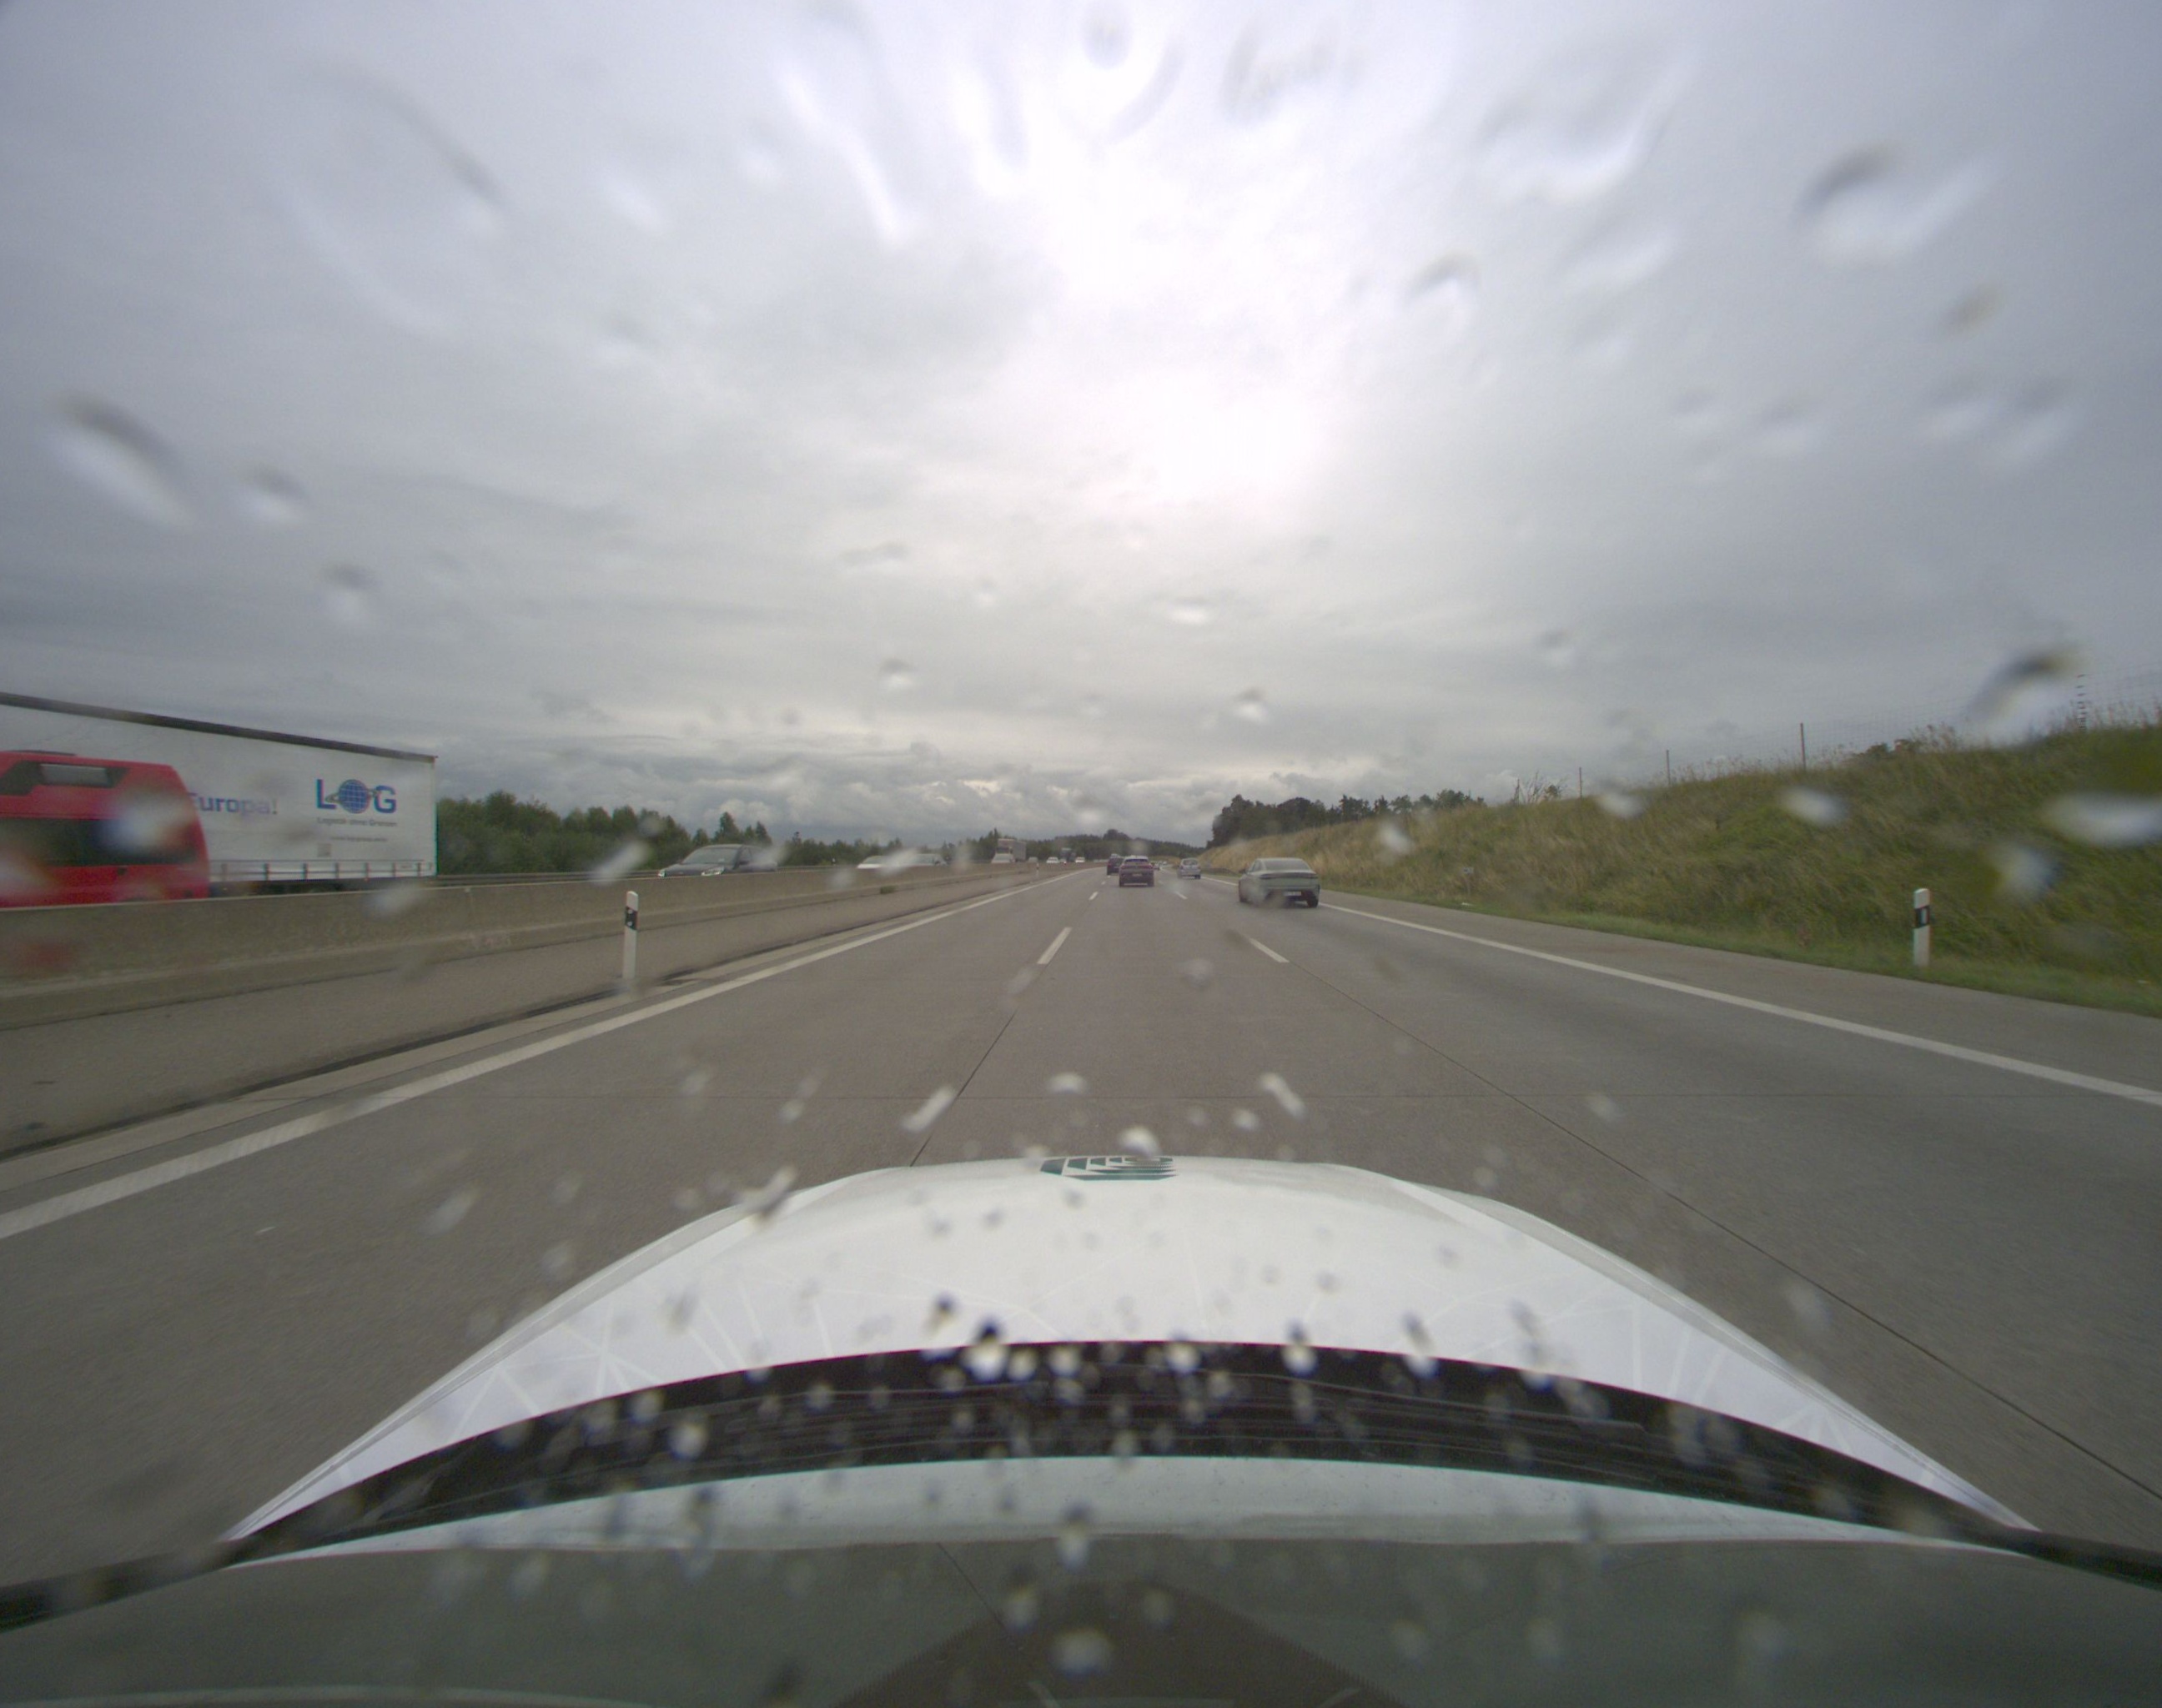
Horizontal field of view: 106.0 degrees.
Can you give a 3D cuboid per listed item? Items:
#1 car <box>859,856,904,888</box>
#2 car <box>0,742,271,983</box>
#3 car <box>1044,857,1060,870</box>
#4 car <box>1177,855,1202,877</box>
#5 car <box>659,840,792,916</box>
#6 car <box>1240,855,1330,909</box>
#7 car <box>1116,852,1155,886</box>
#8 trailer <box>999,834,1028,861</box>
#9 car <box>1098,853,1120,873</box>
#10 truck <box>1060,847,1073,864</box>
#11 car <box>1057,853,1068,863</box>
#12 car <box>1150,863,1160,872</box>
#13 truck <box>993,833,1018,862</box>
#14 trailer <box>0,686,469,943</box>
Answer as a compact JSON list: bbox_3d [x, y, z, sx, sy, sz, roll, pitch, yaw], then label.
[{"bbox_3d":[-12.109,1.040,49.610,1.490,1.748,4.581,-1,1,1],"label":"car"},{"bbox_3d":[-14.140,0.110,10.396,1.794,2.958,5.583,-1,0,3],"label":"car"},{"bbox_3d":[-4.280,1.409,121.662,2.026,1.867,4.607,-1,0,3],"label":"car"},{"bbox_3d":[7.806,0.836,58.880,1.479,1.470,3.507,2,1,3],"label":"car"},{"bbox_3d":[-10.334,0.643,24.124,1.681,2.013,4.839,-1,0,2],"label":"car"},{"bbox_3d":[6.152,0.787,25.120,2.004,1.445,4.752,-1,1,5],"label":"car"},{"bbox_3d":[2.900,0.763,43.969,1.891,1.690,5.268,-1,1,2],"label":"car"},{"bbox_3d":[-10.840,-1.065,131.237,2.906,4.217,11.885,-1,1,4],"label":"trailer"},{"bbox_3d":[2.607,0.815,75.185,1.776,1.747,3.921,-1,1,5],"label":"car"},{"bbox_3d":[-3.831,0.249,215.689,2.776,4.262,6.057,3,1,4],"label":"truck"},{"bbox_3d":[-3.935,0.826,176.964,1.906,2.013,5.930,-1,1,3],"label":"car"},{"bbox_3d":[12.168,2.208,134.827,1.479,1.470,3.507,2,1,3],"label":"car"},{"bbox_3d":[-11.348,-0.979,123.054,2.920,4.180,5.861,-1,1,2],"label":"truck"},{"bbox_3d":[-18.173,-0.632,15.369,2.876,4.002,13.023,-1,1,2],"label":"trailer"}]
